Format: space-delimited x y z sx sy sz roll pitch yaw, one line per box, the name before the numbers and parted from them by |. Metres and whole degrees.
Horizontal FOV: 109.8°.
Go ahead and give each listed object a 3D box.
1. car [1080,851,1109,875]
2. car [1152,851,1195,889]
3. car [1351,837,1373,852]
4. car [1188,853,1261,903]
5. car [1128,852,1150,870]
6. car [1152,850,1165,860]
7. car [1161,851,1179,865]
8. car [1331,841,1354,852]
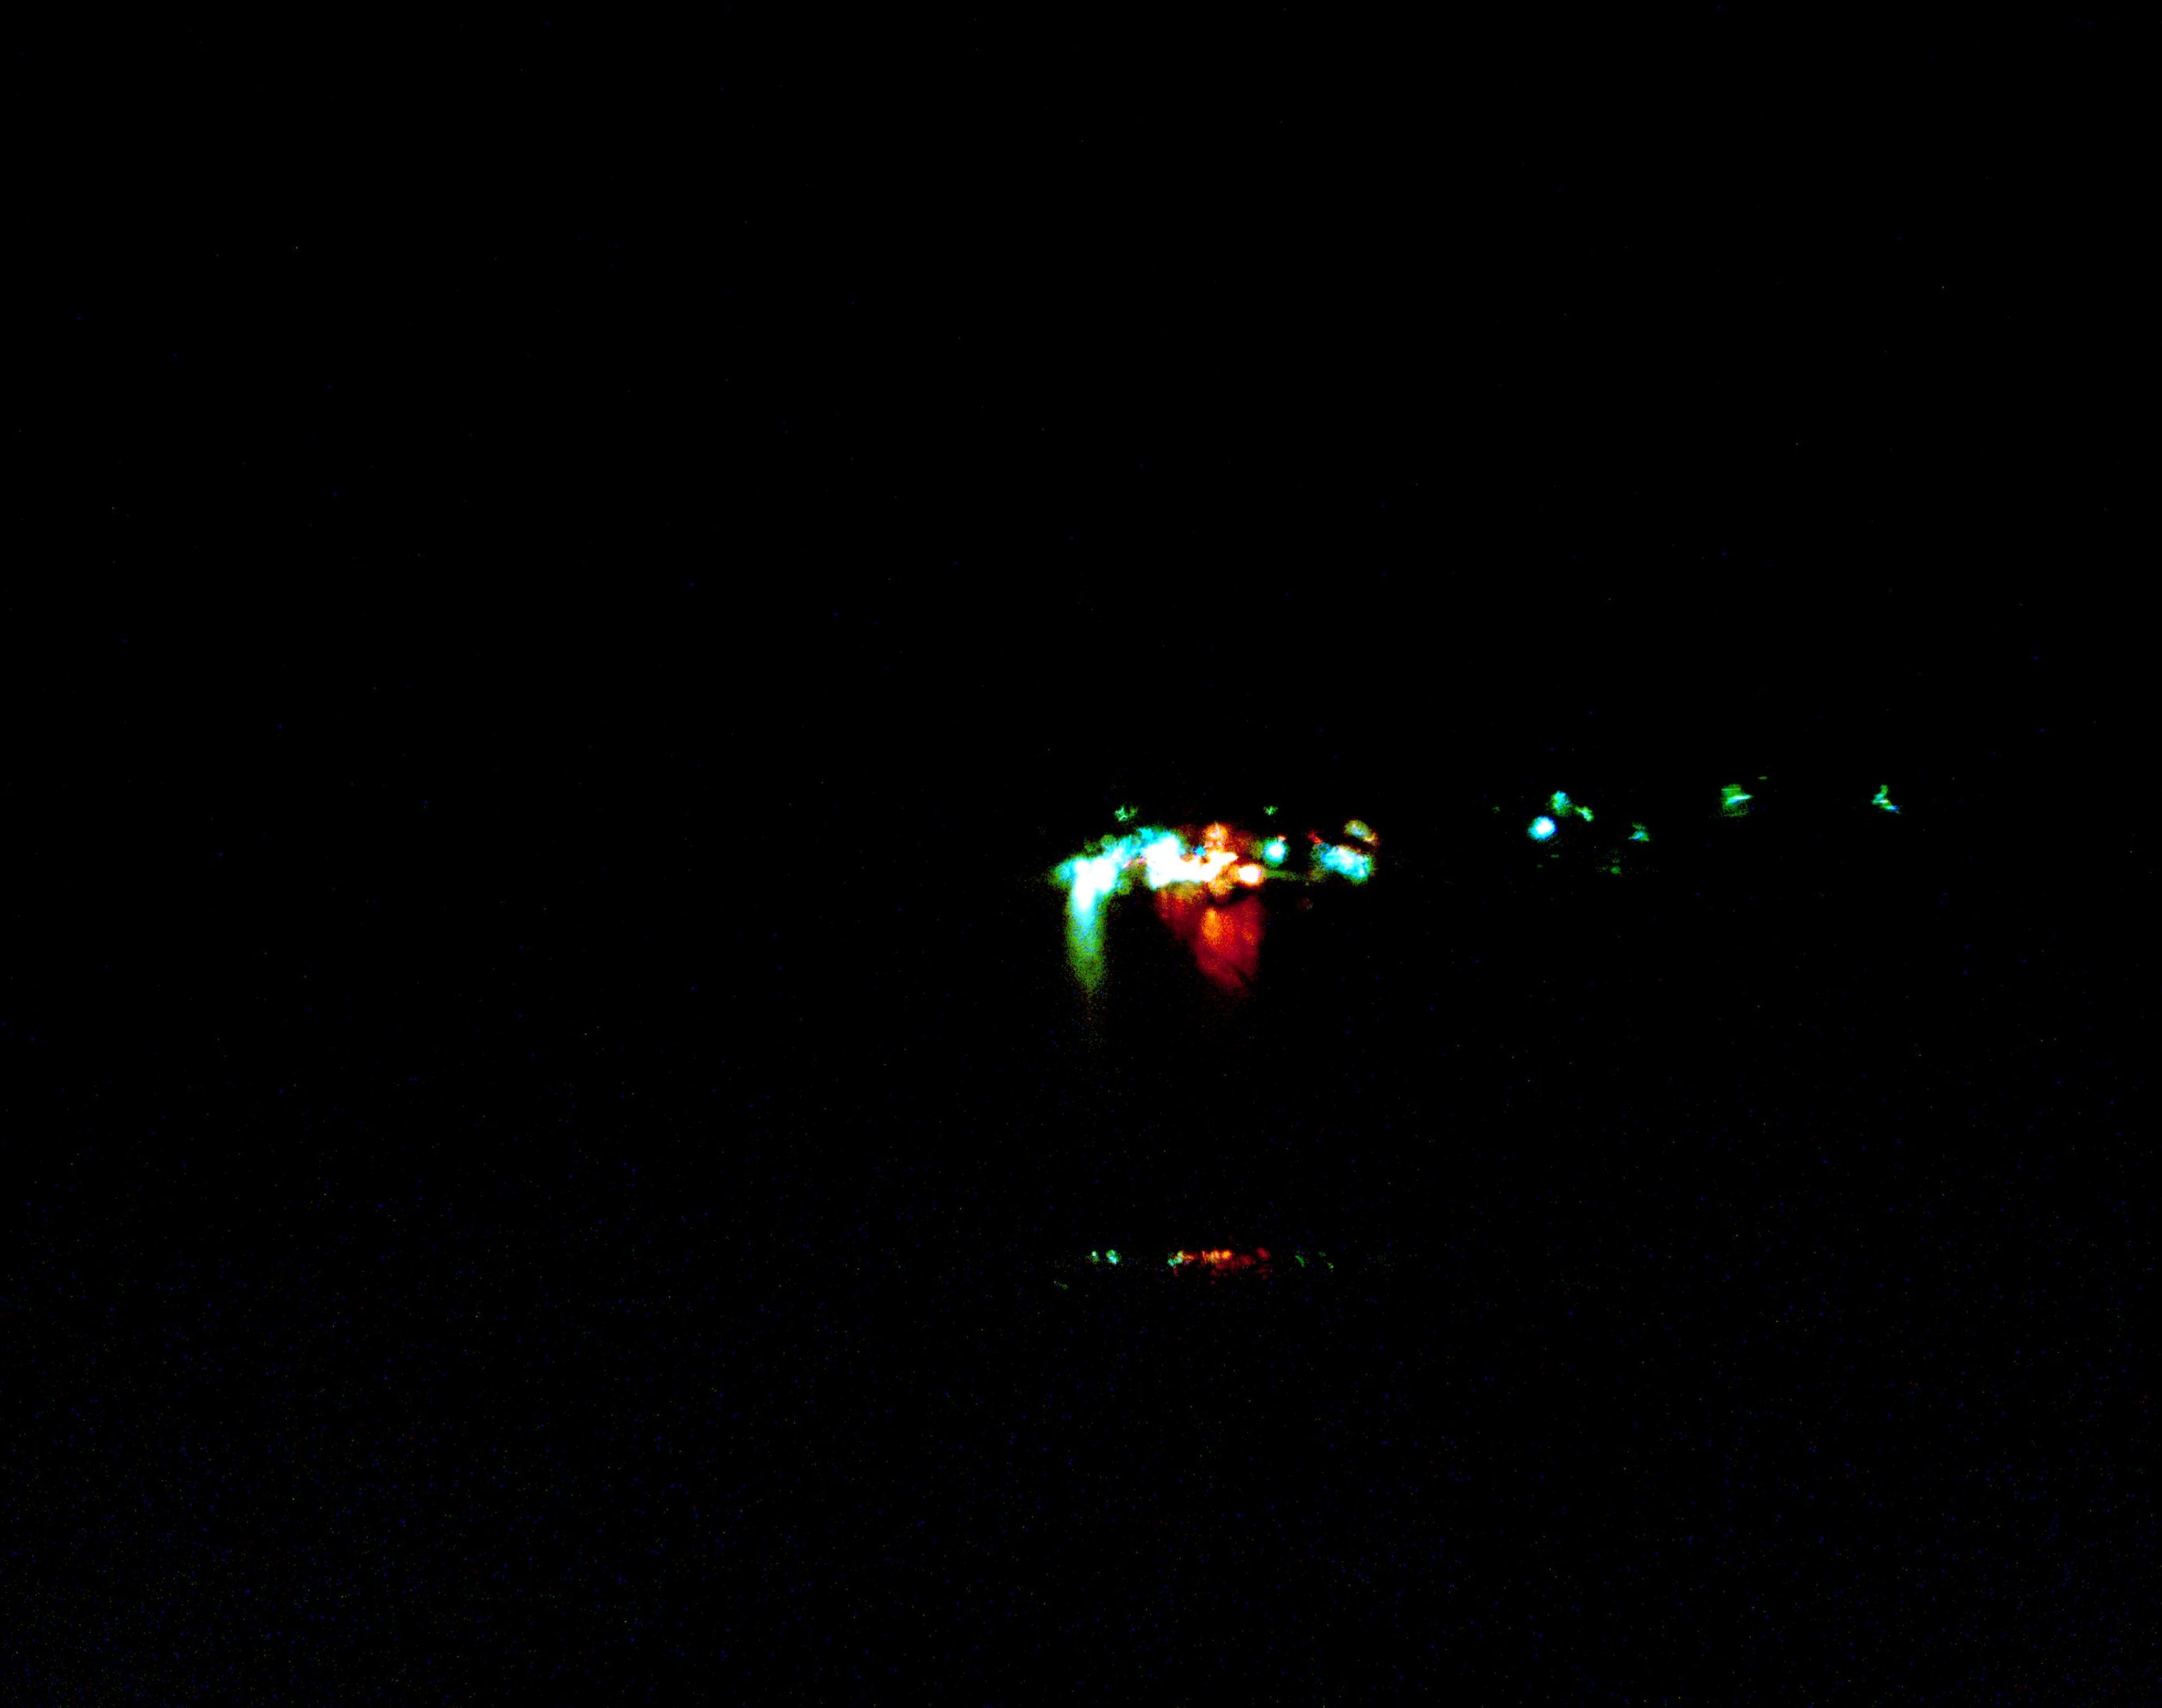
car | 1.097 0.656 58.030 1.877 1.579 4.889 -2 1 4
car | 4.439 0.728 36.940 1.658 1.673 4.520 -2 0 2
car | 46.509 -1.567 125.822 1.998 2.294 6.024 -2 0 6
car | 4.752 0.745 25.667 1.697 1.511 3.862 -2 0 0
car | 5.420 0.623 71.405 1.928 1.606 4.085 -2 0 2
car | 12.515 0.124 122.338 1.969 1.520 3.690 -2 0 8
car | 9.736 0.389 83.274 1.807 1.375 4.774 -2 0 6
car | 45.955 -1.305 133.754 1.852 1.683 4.444 -2 0 -11
